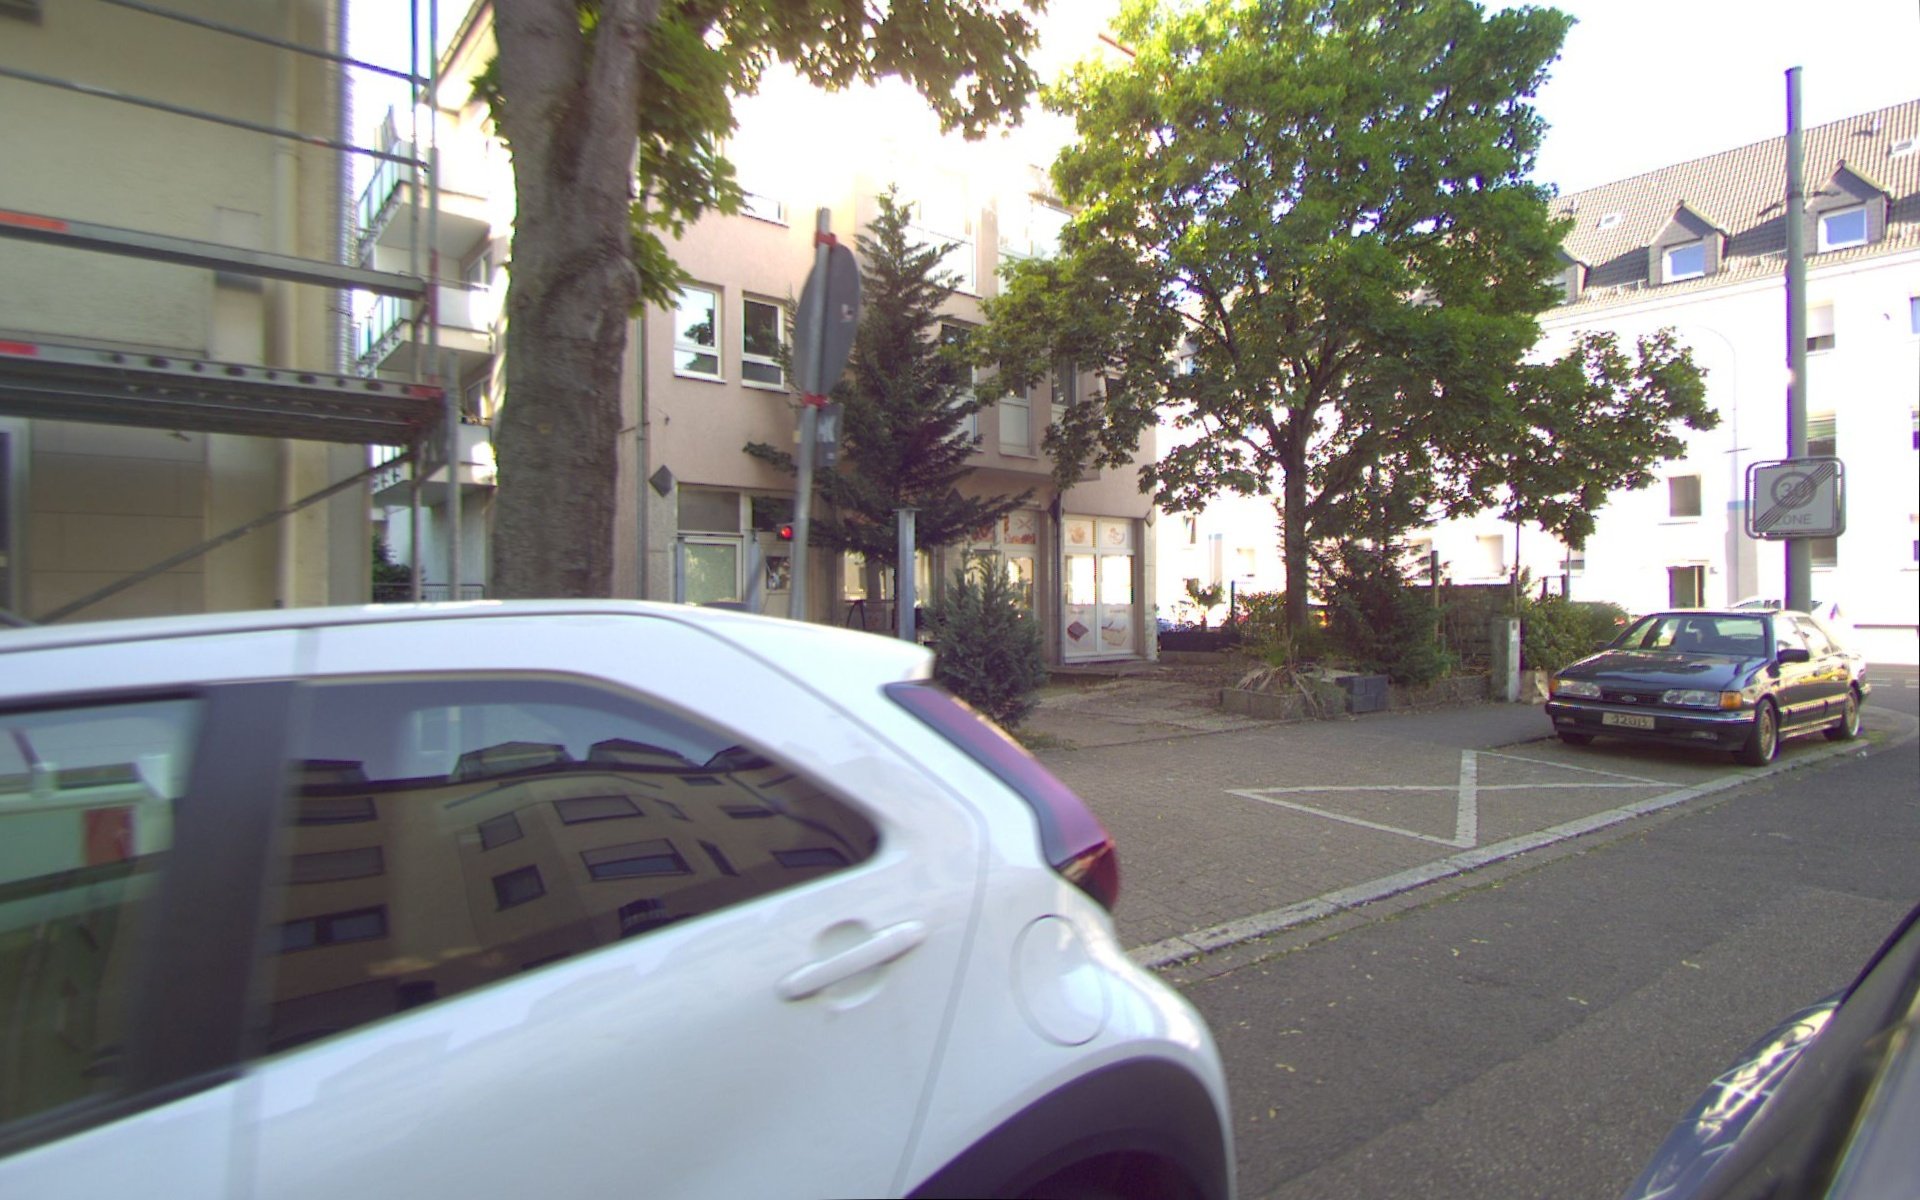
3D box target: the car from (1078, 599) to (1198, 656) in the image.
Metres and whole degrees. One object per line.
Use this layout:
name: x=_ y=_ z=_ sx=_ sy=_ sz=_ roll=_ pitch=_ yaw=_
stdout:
car: x=4.623 y=0.700 z=26.429 sx=2.871 sy=1.373 sz=1.243 roll=-1 pitch=1 yaw=44

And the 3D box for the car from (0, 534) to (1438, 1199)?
car: x=-1.359 y=0.753 z=1.264 sx=3.888 sy=1.555 sz=1.808 roll=-1 pitch=-1 yaw=-34

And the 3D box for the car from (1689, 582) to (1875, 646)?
car: x=22.305 y=0.381 z=27.555 sx=1.621 sy=1.627 sz=3.699 roll=0 pitch=-1 yaw=-42

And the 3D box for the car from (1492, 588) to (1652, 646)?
car: x=18.957 y=0.554 z=31.468 sx=1.621 sy=1.527 sz=3.868 roll=0 pitch=-4 yaw=-42

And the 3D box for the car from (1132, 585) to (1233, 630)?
car: x=9.333 y=0.321 z=42.663 sx=1.665 sy=1.804 sz=3.993 roll=0 pitch=-1 yaw=-41

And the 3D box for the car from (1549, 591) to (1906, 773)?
car: x=8.002 y=0.671 z=10.413 sx=4.422 sy=1.425 sz=1.667 roll=-1 pitch=3 yaw=-36

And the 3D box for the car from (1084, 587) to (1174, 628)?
car: x=7.815 y=0.360 z=47.115 sx=1.665 sy=1.804 sz=3.993 roll=0 pitch=-1 yaw=-41

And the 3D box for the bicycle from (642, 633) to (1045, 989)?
bicycle: x=-0.625 y=0.831 z=4.751 sx=1.965 sy=1.169 sz=0.741 roll=4 pitch=3 yaw=41
